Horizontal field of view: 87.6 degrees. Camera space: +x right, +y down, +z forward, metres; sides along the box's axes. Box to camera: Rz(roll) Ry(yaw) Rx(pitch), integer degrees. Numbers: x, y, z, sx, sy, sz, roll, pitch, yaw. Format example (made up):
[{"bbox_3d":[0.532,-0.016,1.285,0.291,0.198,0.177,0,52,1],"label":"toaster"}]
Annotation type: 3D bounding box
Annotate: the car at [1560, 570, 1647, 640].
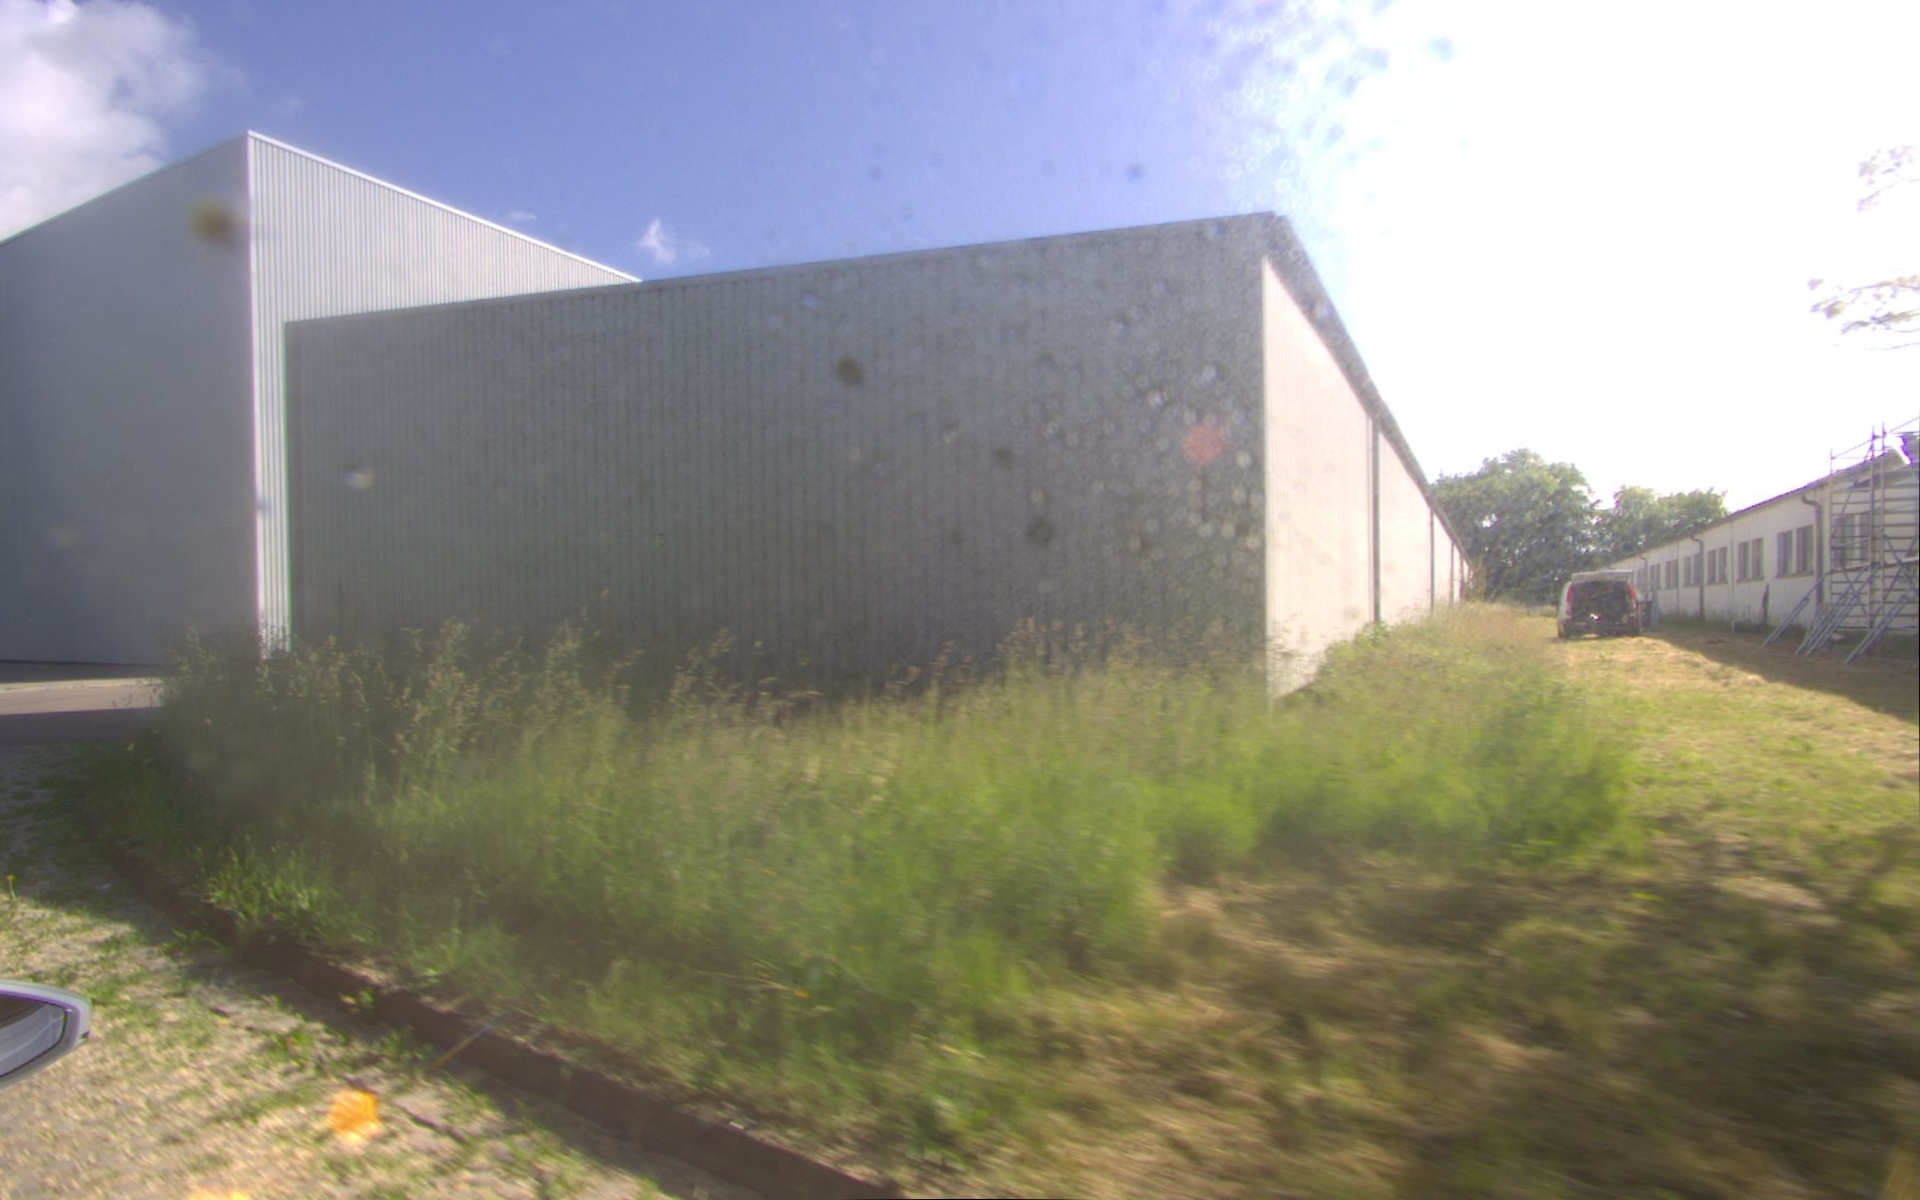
[{"bbox_3d":[19.919,0.168,31.165,1.969,2.040,3.983,0,0,28],"label":"car"}]
